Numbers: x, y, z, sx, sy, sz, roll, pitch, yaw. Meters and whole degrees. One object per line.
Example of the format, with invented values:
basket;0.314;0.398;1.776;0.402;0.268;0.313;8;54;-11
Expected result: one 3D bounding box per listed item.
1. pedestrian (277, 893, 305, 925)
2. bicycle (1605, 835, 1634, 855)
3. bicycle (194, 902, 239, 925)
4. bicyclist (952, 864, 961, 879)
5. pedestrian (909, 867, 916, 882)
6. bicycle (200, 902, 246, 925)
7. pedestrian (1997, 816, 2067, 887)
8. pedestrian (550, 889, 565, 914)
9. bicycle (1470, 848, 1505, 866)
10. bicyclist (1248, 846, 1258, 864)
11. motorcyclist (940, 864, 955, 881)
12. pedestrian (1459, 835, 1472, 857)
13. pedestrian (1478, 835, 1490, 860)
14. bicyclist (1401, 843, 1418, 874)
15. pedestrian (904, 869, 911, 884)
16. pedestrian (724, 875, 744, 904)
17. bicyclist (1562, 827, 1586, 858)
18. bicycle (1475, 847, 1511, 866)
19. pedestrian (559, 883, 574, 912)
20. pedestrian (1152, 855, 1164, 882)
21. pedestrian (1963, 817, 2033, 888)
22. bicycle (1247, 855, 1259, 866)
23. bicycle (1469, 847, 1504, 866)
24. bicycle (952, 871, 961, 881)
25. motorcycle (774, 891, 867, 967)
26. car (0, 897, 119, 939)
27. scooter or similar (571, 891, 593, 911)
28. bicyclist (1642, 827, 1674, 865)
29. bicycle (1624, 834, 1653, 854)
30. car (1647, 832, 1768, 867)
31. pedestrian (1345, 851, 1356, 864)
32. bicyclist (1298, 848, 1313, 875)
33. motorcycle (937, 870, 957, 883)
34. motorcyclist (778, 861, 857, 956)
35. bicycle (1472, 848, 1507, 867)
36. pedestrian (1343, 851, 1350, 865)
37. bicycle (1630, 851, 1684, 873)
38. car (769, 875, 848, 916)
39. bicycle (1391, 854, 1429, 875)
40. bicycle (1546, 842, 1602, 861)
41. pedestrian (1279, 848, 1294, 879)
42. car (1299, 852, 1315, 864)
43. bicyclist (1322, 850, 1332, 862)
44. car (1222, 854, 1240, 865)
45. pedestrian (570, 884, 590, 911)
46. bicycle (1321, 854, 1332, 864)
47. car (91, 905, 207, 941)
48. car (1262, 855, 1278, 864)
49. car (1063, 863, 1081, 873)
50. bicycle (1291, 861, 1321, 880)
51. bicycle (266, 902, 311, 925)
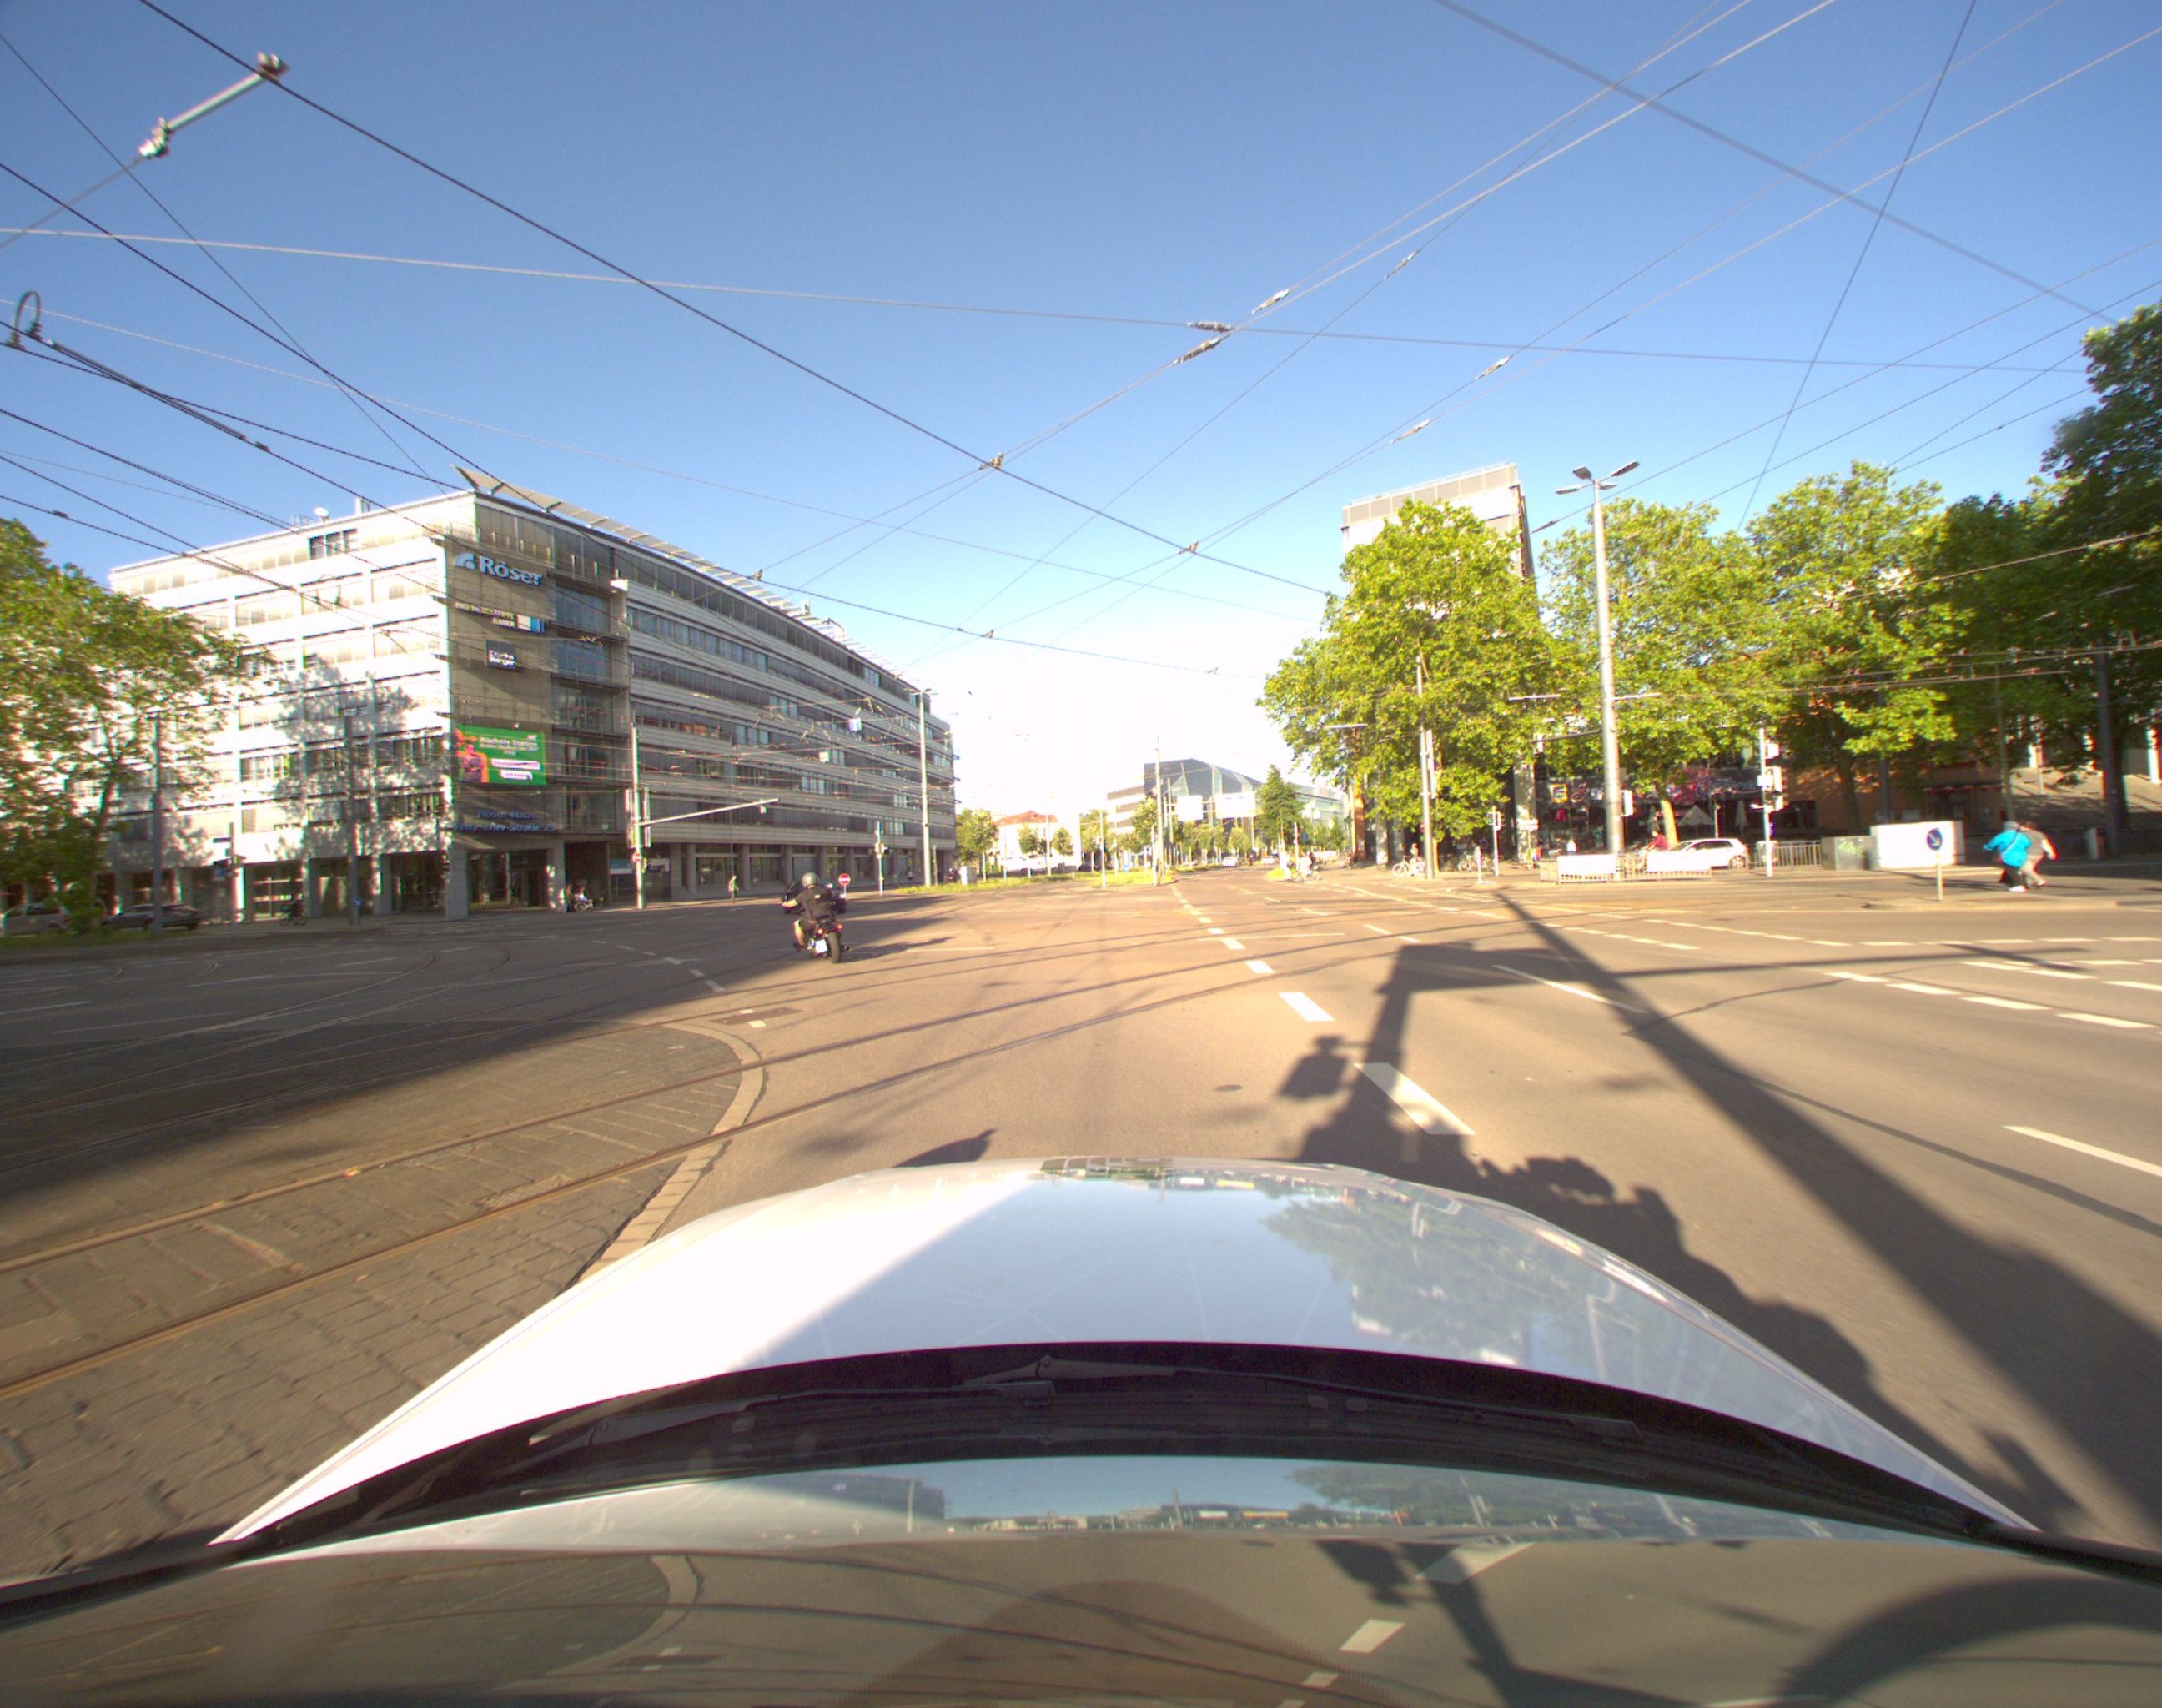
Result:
pedestrian;-42.925;2.984;44.251;0.831;1.611;0.607;-2;2;2
bicycle;32.547;-0.571;49.183;0.867;1.091;2.950;-2;0;44
bicycle;-50.942;3.502;48.016;0.466;1.151;1.844;-2;1;11
bicyclist;-14.647;2.041;95.834;0.760;1.667;0.995;-2;-1;5
pedestrian;-19.509;2.385;94.415;0.545;1.733;0.643;-3;0;9
bicycle;-50.474;3.490;47.938;0.466;1.151;1.844;-2;1;11
pedestrian;21.221;-0.052;18.184;0.648;1.540;0.741;-1;-1;-4
pedestrian;-31.031;2.817;48.281;0.639;1.402;0.542;-2;-1;-26
bicycle;23.245;0.175;46.566;1.692;0.986;0.392;-3;-1;17
bicyclist;26.231;0.103;124.288;1.007;2.624;1.480;-3;-1;23
motorcyclist;-14.292;1.957;87.358;1.011;1.731;1.466;-3;-1;14
pedestrian;28.575;-0.598;60.579;0.768;1.527;0.567;-3;-1;29
pedestrian;30.413;-0.510;61.461;0.839;1.852;0.814;0;0;25
bicyclist;18.236;0.237;45.196;0.737;1.694;0.572;-3;-1;14
pedestrian;-20.129;2.579;94.476;0.545;1.733;0.643;-3;0;9
pedestrian;-22.547;2.292;52.910;0.877;1.823;0.678;-4;-1;8
bicyclist;31.682;-0.735;52.352;1.215;1.931;0.840;-3;-1;30
bicycle;22.893;0.153;45.246;1.692;0.986;0.392;-3;-1;17
pedestrian;-31.122;2.643;49.236;0.639;1.708;0.576;-2;-1;-26
pedestrian;4.696;0.863;49.569;0.653;1.582;0.490;-2;0;7
pedestrian;20.372;-0.022;18.100;0.673;1.540;0.741;-1;-1;-4
bicycle;26.271;0.961;124.331;1.007;1.579;3.594;-3;0;23
bicycle;23.389;0.156;46.980;1.692;0.986;0.392;-3;-1;17
bicycle;-14.646;2.593;95.802;0.639;1.107;1.688;-2;0;6
motorcycle;-4.609;1.257;14.287;1.012;1.125;2.299;-1;0;-32
car;-55.251;3.452;43.799;4.886;1.843;1.931;-3;2;4
scooter or similar;-30.371;2.870;49.594;1.020;1.129;0.545;-2;-1;-26
bicyclist;25.605;-0.360;36.147;0.920;1.615;0.639;-2;-1;7
bicycle;33.295;-0.596;48.618;0.867;1.091;2.950;-2;0;44
car;28.937;-0.171;37.763;3.965;1.486;2.004;-1;-1;7
pedestrian;23.284;0.334;70.400;0.776;1.057;0.819;-3;0;26
bicyclist;13.071;0.430;47.326;0.737;1.503;0.572;-3;-1;12
motorcycle;-14.320;2.383;87.247;0.976;1.232;2.954;-3;-1;15
motorcyclist;-4.668;0.917;14.382;1.029;1.552;1.273;-1;-1;-32
bicycle;23.112;0.191;46.082;1.692;0.986;0.392;-3;-1;17
pedestrian;30.316;0.468;92.875;0.700;1.569;0.626;-3;0;18
bicycle;25.553;0.356;36.162;1.843;0.910;0.654;-2;-1;7
car;-11.212;1.657;33.314;1.805;1.466;4.263;-3;0;-36
bicycle;18.231;0.582;45.185;1.839;1.021;0.518;-3;-1;14
bicycle;31.650;-0.164;52.374;3.011;1.113;0.840;-3;-1;30
pedestrian;12.509;0.592;49.569;0.693;1.837;0.518;-2;-1;39
car;37.463;0.627;135.097;2.035;1.874;4.249;-2;-1;21
bicyclist;29.367;0.236;97.194;1.032;1.381;1.570;-2;-1;14
car;20.164;0.738;109.494;1.886;1.508;4.019;-2;-1;18
pedestrian;-31.128;2.679;50.611;0.716;1.617;0.657;-3;-1;12
bicycle;29.406;0.559;97.491;1.032;1.133;3.192;-2;0;14
car;-49.783;3.673;43.527;4.376;1.572;1.870;-3;2;7
car;31.309;0.923;135.036;1.998;1.376;4.060;-3;0;21
car;-1.886;3.044;174.407;2.007;2.013;3.959;-3;0;-32
bicycle;13.063;0.948;47.338;1.616;1.021;0.518;-3;-1;12
bicycle;-42.930;3.208;44.121;1.833;1.163;0.614;-1;3;5
